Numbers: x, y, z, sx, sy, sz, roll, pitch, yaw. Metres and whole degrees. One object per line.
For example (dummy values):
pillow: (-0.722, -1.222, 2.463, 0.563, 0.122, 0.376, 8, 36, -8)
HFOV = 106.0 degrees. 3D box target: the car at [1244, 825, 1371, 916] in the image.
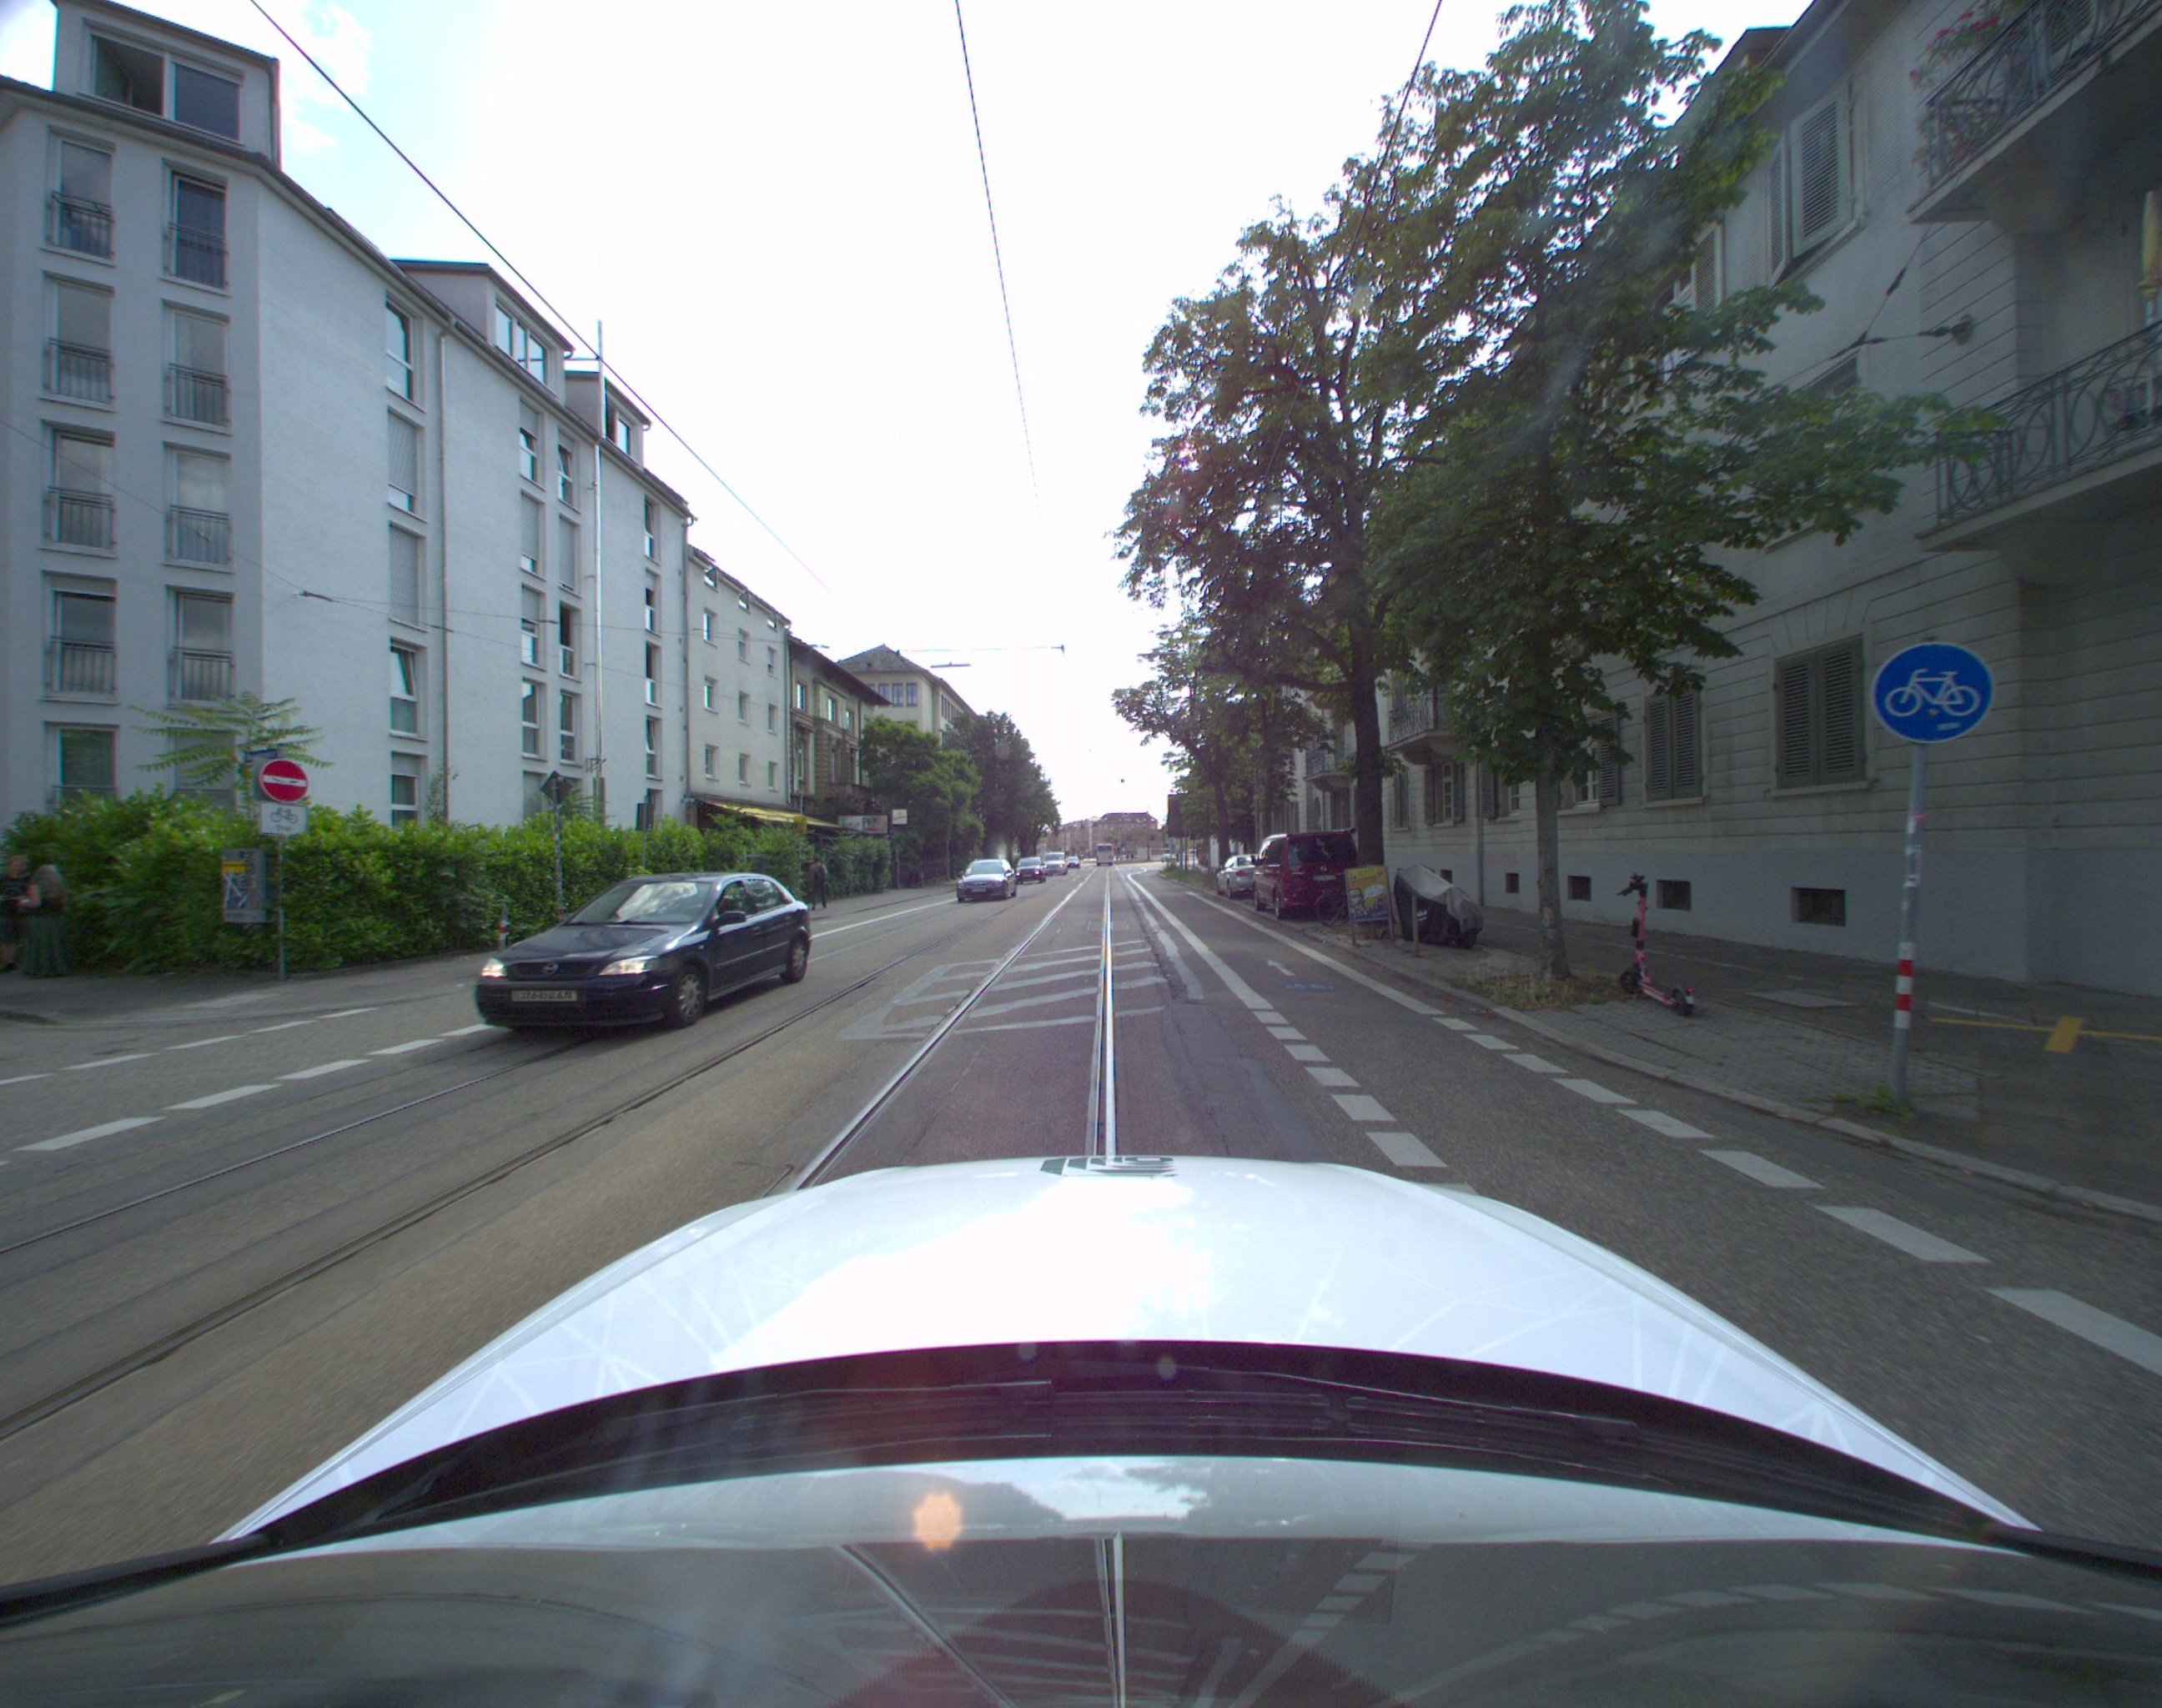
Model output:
car: (5.430, 0.377, 20.254, 1.888, 1.941, 4.952, -1, 0, 2)

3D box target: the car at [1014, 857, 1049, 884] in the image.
car: (-2.913, 0.949, 48.601, 1.625, 1.556, 3.823, -1, 0, 2)

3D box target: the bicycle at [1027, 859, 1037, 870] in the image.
bicycle: (-5.104, 1.078, 84.491, 0.600, 1.097, 2.025, -7, 0, 4)

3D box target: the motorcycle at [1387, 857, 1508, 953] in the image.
motorcycle: (5.561, 0.719, 12.566, 0.854, 1.321, 2.446, -1, 0, 3)

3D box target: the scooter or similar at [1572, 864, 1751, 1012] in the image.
scooter or similar: (5.513, 0.733, 7.874, 0.530, 1.251, 1.721, -2, 0, 3)

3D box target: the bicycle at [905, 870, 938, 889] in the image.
bicycle: (-8.736, 1.379, 44.740, 1.138, 0.909, 2.990, 2, 0, 2)

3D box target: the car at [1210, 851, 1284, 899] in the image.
car: (5.689, 0.667, 28.412, 1.700, 1.498, 4.790, -1, 0, 2)

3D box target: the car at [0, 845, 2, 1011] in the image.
car: (-15.758, 0.959, 9.908, 4.886, 2.014, 2.061, -2, 0, 23)

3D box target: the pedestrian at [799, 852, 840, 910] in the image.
pedestrian: (-8.805, 0.889, 27.444, 1.055, 1.917, 0.830, -1, -1, 1)

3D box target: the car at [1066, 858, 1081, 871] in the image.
car: (-0.888, 1.239, 97.428, 1.682, 1.402, 3.932, -2, 0, 1)

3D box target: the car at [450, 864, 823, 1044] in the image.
car: (-4.311, 0.852, 8.756, 1.622, 1.407, 4.131, -1, 0, 2)

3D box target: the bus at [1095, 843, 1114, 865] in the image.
bus: (3.633, 0.095, 127.553, 2.907, 3.328, 12.208, 0, -1, 1)

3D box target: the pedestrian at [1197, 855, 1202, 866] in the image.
pedestrian: (12.967, 0.670, 89.150, 0.424, 1.200, 0.402, -3, 1, -31)

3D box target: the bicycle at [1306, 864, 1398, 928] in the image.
bicycle: (5.362, 0.827, 16.167, 1.605, 1.203, 0.589, -1, -1, -2)

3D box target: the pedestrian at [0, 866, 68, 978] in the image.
pedestrian: (-16.713, 1.046, 12.795, 0.629, 1.698, 0.787, -1, 0, 14)

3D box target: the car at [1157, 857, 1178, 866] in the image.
car: (16.293, 1.366, 153.367, 2.109, 1.684, 4.128, 1, 1, 35)

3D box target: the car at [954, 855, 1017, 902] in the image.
car: (-3.427, 0.848, 29.994, 1.721, 1.540, 4.277, -2, 0, 1)

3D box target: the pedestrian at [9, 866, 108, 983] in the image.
pedestrian: (-15.499, 1.039, 12.363, 0.480, 1.698, 0.785, -1, 0, 2)

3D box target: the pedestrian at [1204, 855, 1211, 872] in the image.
pedestrian: (13.679, 1.039, 88.213, 0.681, 1.724, 0.748, -3, 1, 5)

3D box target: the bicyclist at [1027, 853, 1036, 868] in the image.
bicyclist: (-5.157, 0.682, 84.436, 0.596, 1.492, 0.883, -7, 0, 5)

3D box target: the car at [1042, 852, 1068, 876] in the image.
car: (-2.155, 0.815, 68.288, 1.891, 1.907, 5.384, -1, 0, 1)

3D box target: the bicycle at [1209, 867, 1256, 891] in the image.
bicycle: (6.014, 0.973, 32.346, 1.768, 0.903, 0.692, -1, 0, 4)
